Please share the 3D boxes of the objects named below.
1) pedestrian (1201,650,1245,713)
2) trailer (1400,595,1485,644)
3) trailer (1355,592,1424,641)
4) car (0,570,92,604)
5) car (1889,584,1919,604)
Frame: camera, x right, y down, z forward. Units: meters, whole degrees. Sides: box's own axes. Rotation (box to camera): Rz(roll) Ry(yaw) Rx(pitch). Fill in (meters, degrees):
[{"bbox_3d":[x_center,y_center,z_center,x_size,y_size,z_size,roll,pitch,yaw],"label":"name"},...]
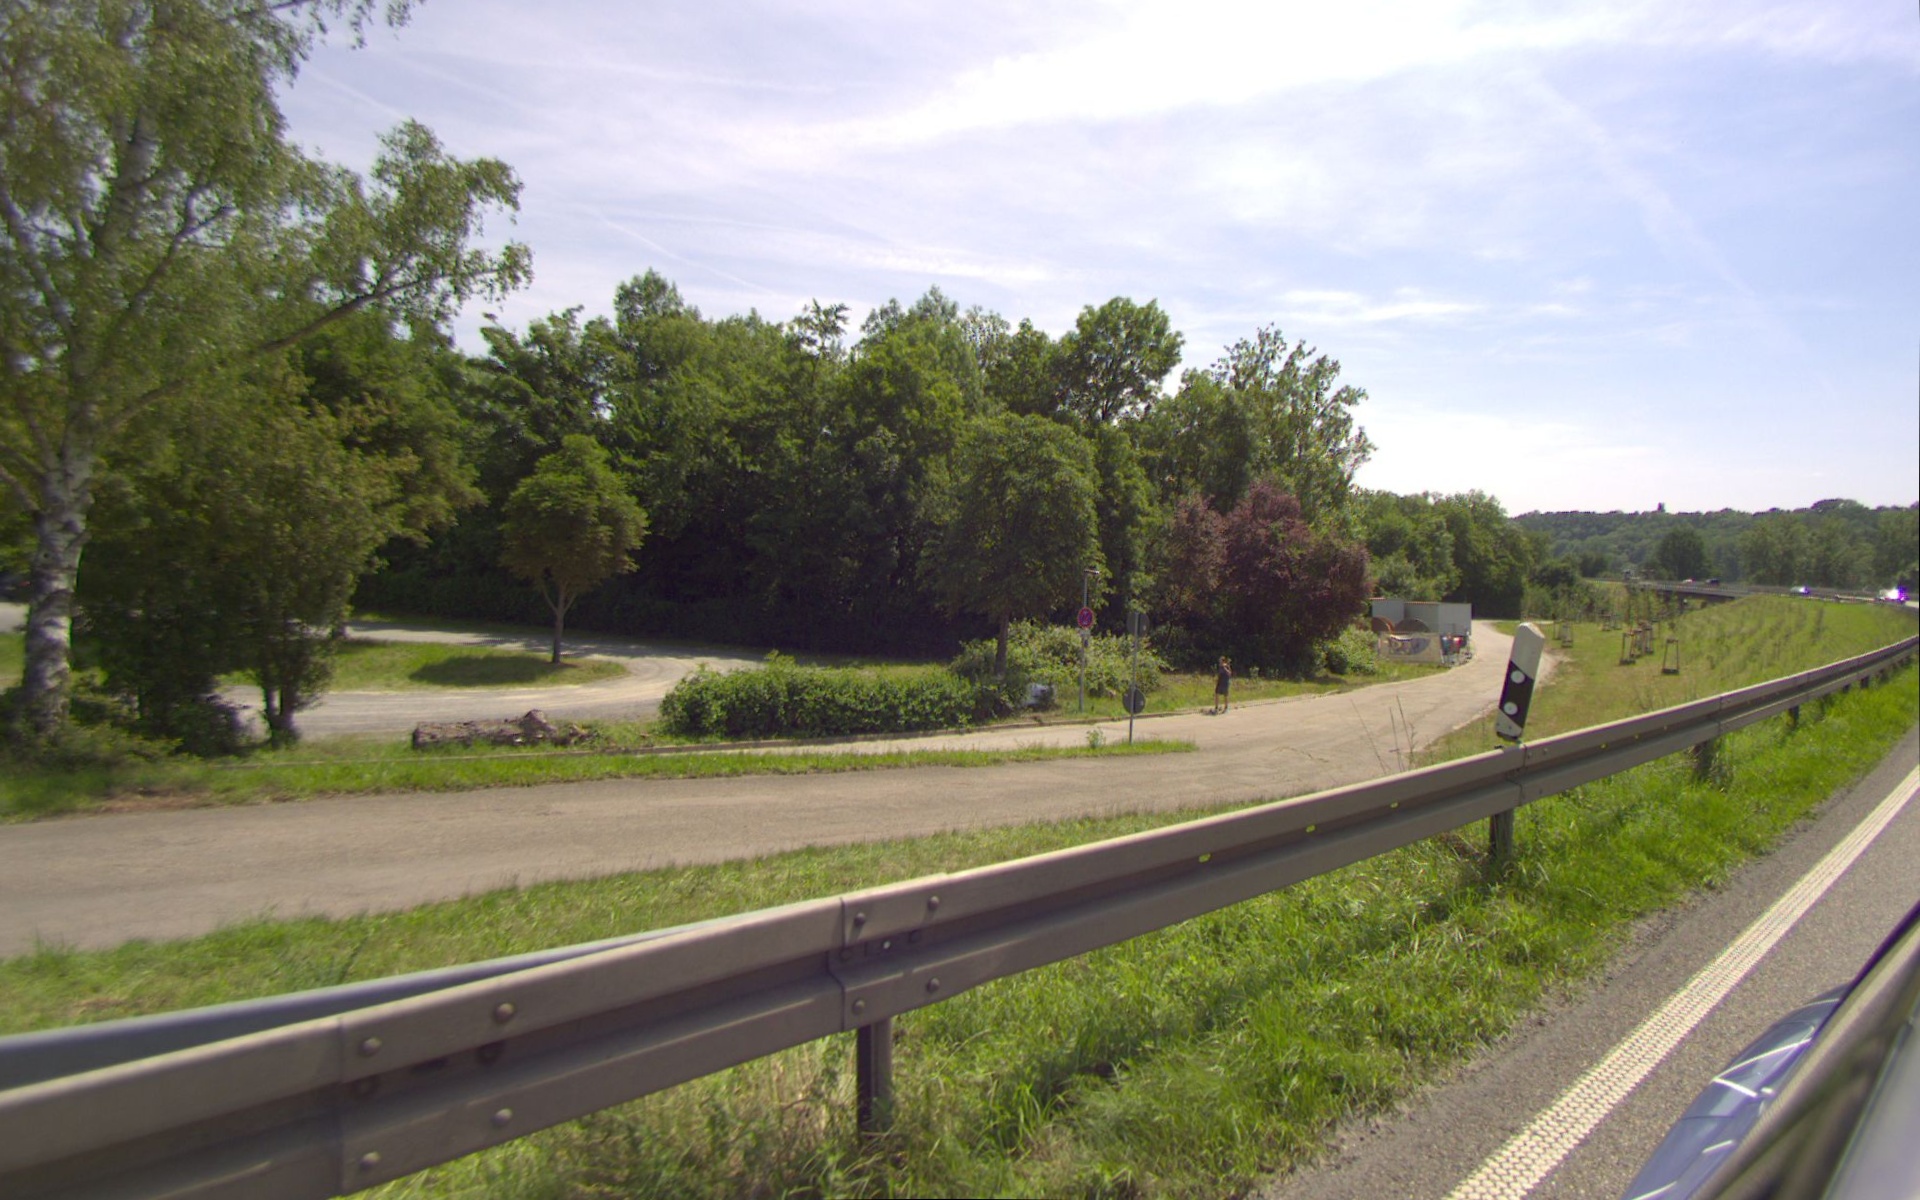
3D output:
[{"bbox_3d":[8.326,2.559,32.016,0.943,1.833,0.886,0,3,-44],"label":"pedestrian"},{"bbox_3d":[38.177,1.411,80.616,2.682,3.369,11.869,0,1,8],"label":"trailer"},{"bbox_3d":[35.795,1.242,84.785,2.683,3.651,11.861,-1,1,10],"label":"trailer"},{"bbox_3d":[-47.328,-0.708,52.005,1.866,1.509,4.169,3,2,0],"label":"car"},{"bbox_3d":[91.337,-0.596,97.711,1.971,1.753,3.948,1,3,37],"label":"car"}]
